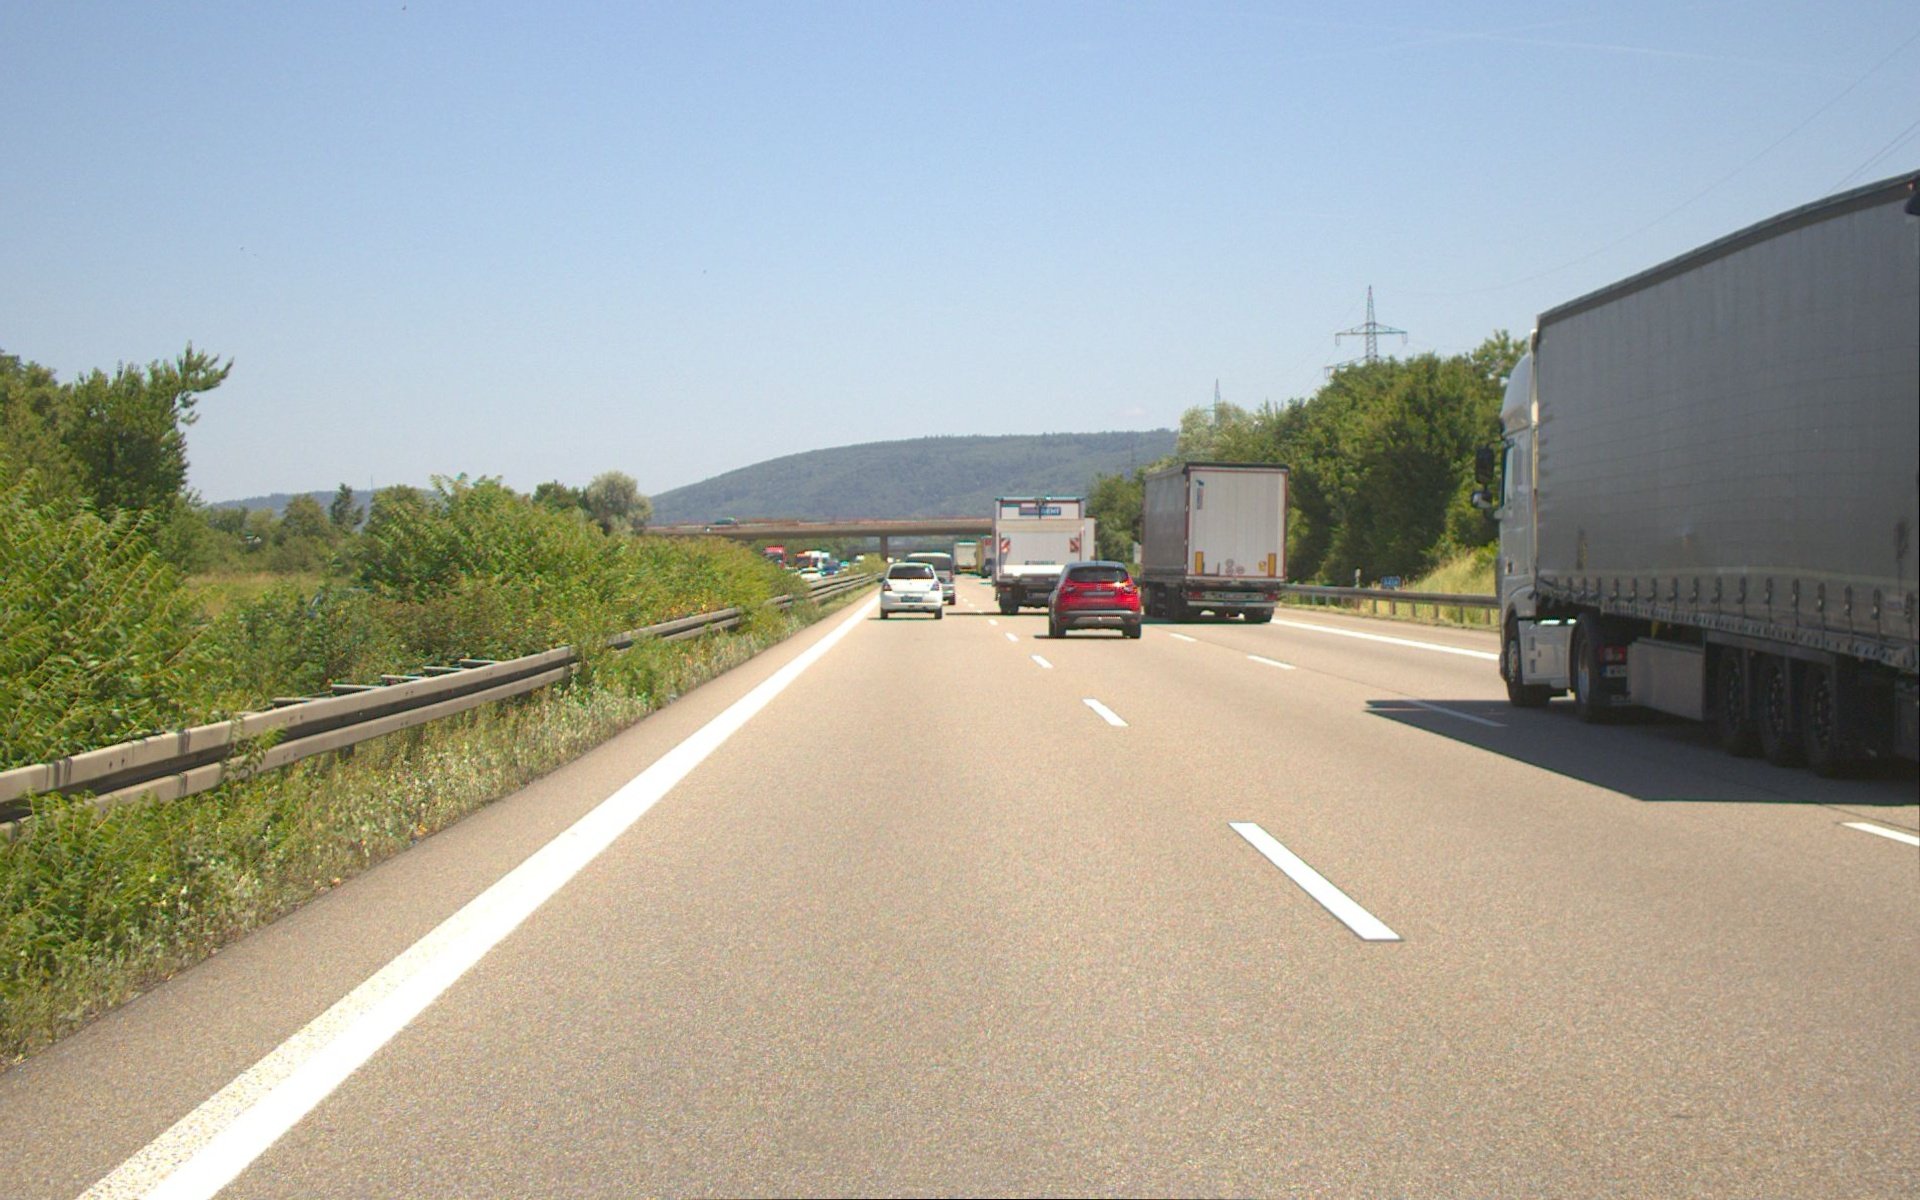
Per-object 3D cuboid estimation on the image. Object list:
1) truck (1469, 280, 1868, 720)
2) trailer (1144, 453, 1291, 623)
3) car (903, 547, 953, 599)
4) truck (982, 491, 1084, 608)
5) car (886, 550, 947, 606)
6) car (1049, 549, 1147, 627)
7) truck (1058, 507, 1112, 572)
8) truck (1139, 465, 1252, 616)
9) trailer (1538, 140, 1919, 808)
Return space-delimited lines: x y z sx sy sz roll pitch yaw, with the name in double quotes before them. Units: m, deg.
"truck" 7.084 -0.970 35.235 2.736 4.105 6.125 0 1 -1
"trailer" 6.739 -1.612 91.911 2.789 4.149 13.575 -1 1 0
"car" -1.162 -0.983 124.956 1.760 1.844 4.000 0 1 -1
"truck" 2.154 -1.494 103.691 2.782 3.361 8.128 0 0 -1
"car" -1.180 -0.619 93.845 1.607 1.462 4.000 0 1 -1
"car" 2.797 -0.263 70.428 1.803 1.540 4.000 0 1 0
"truck" 6.456 -3.122 178.381 2.221 3.198 10.385 -1 1 -1
"truck" 6.721 -1.696 98.806 2.795 4.149 5.723 -1 1 0
"trailer" 7.171 -0.847 27.439 2.736 4.092 13.123 0 1 -1
